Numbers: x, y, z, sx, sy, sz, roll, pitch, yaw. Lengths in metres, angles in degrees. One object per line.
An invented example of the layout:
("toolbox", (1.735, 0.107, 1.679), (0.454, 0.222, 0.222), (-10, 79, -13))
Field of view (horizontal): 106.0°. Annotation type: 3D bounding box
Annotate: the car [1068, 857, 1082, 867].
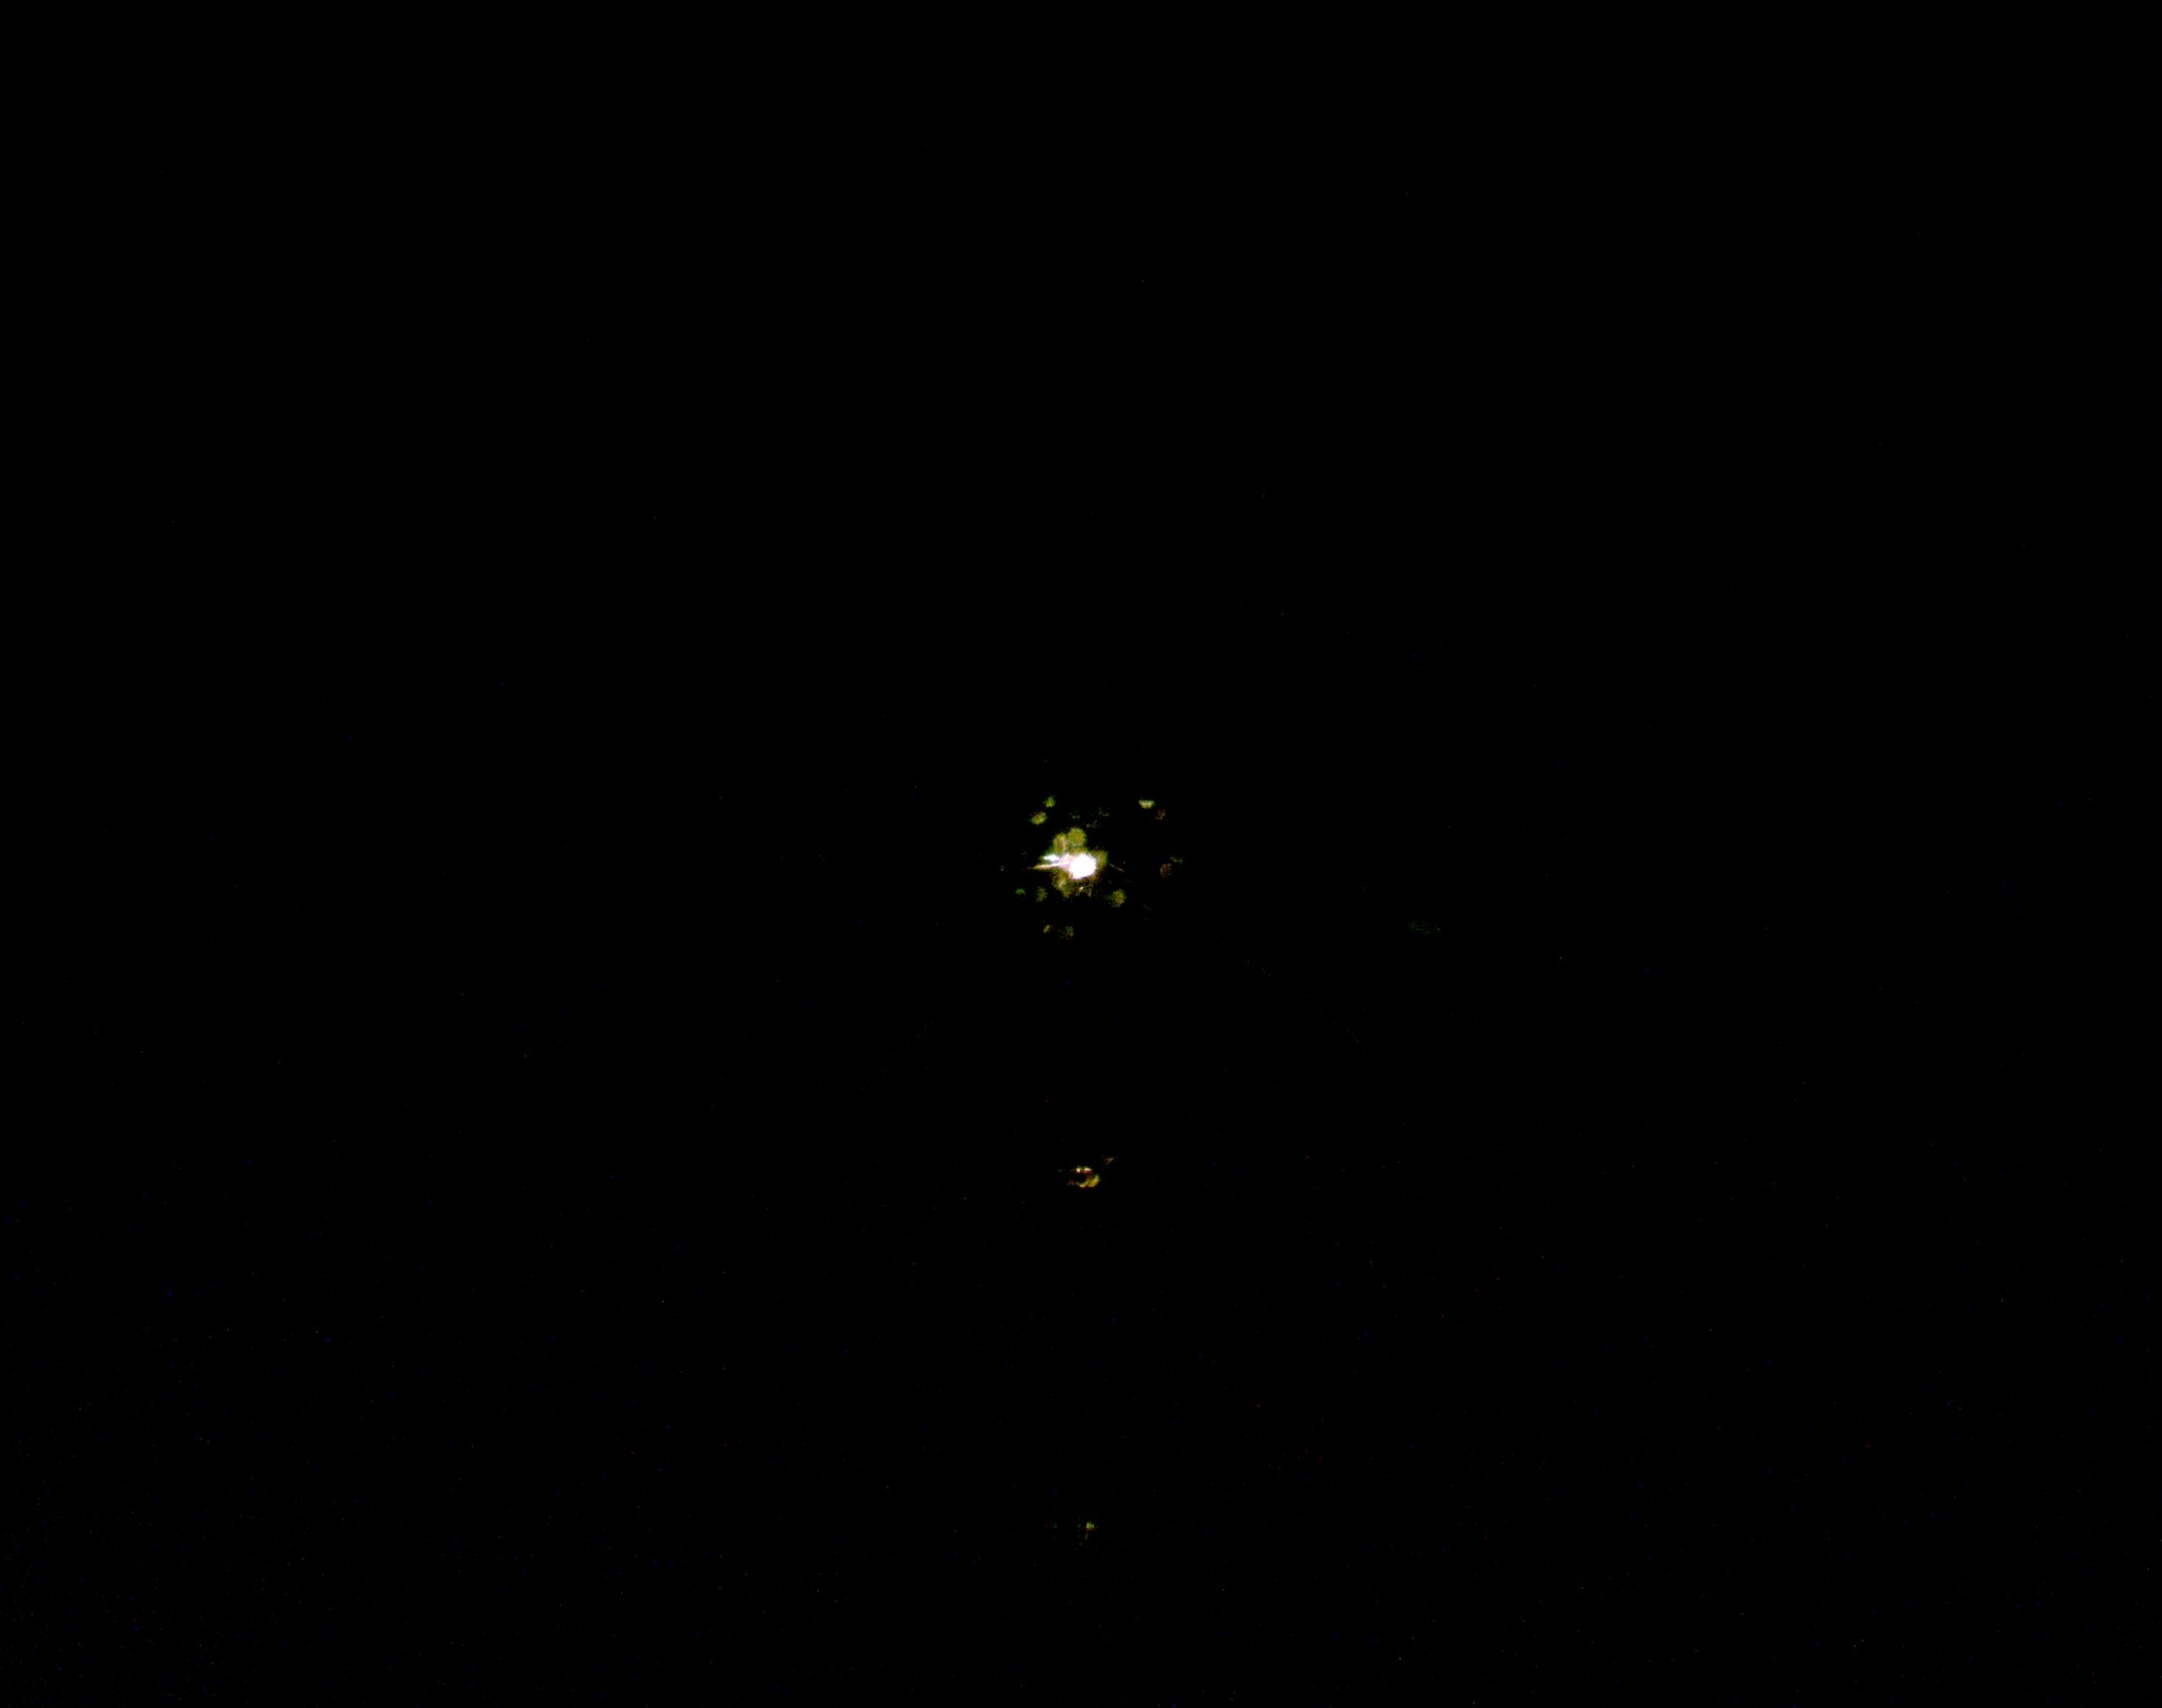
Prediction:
("car", (-0.910, 1.275, 127.732), (1.986, 1.475, 3.925), (0, -1, 1))
